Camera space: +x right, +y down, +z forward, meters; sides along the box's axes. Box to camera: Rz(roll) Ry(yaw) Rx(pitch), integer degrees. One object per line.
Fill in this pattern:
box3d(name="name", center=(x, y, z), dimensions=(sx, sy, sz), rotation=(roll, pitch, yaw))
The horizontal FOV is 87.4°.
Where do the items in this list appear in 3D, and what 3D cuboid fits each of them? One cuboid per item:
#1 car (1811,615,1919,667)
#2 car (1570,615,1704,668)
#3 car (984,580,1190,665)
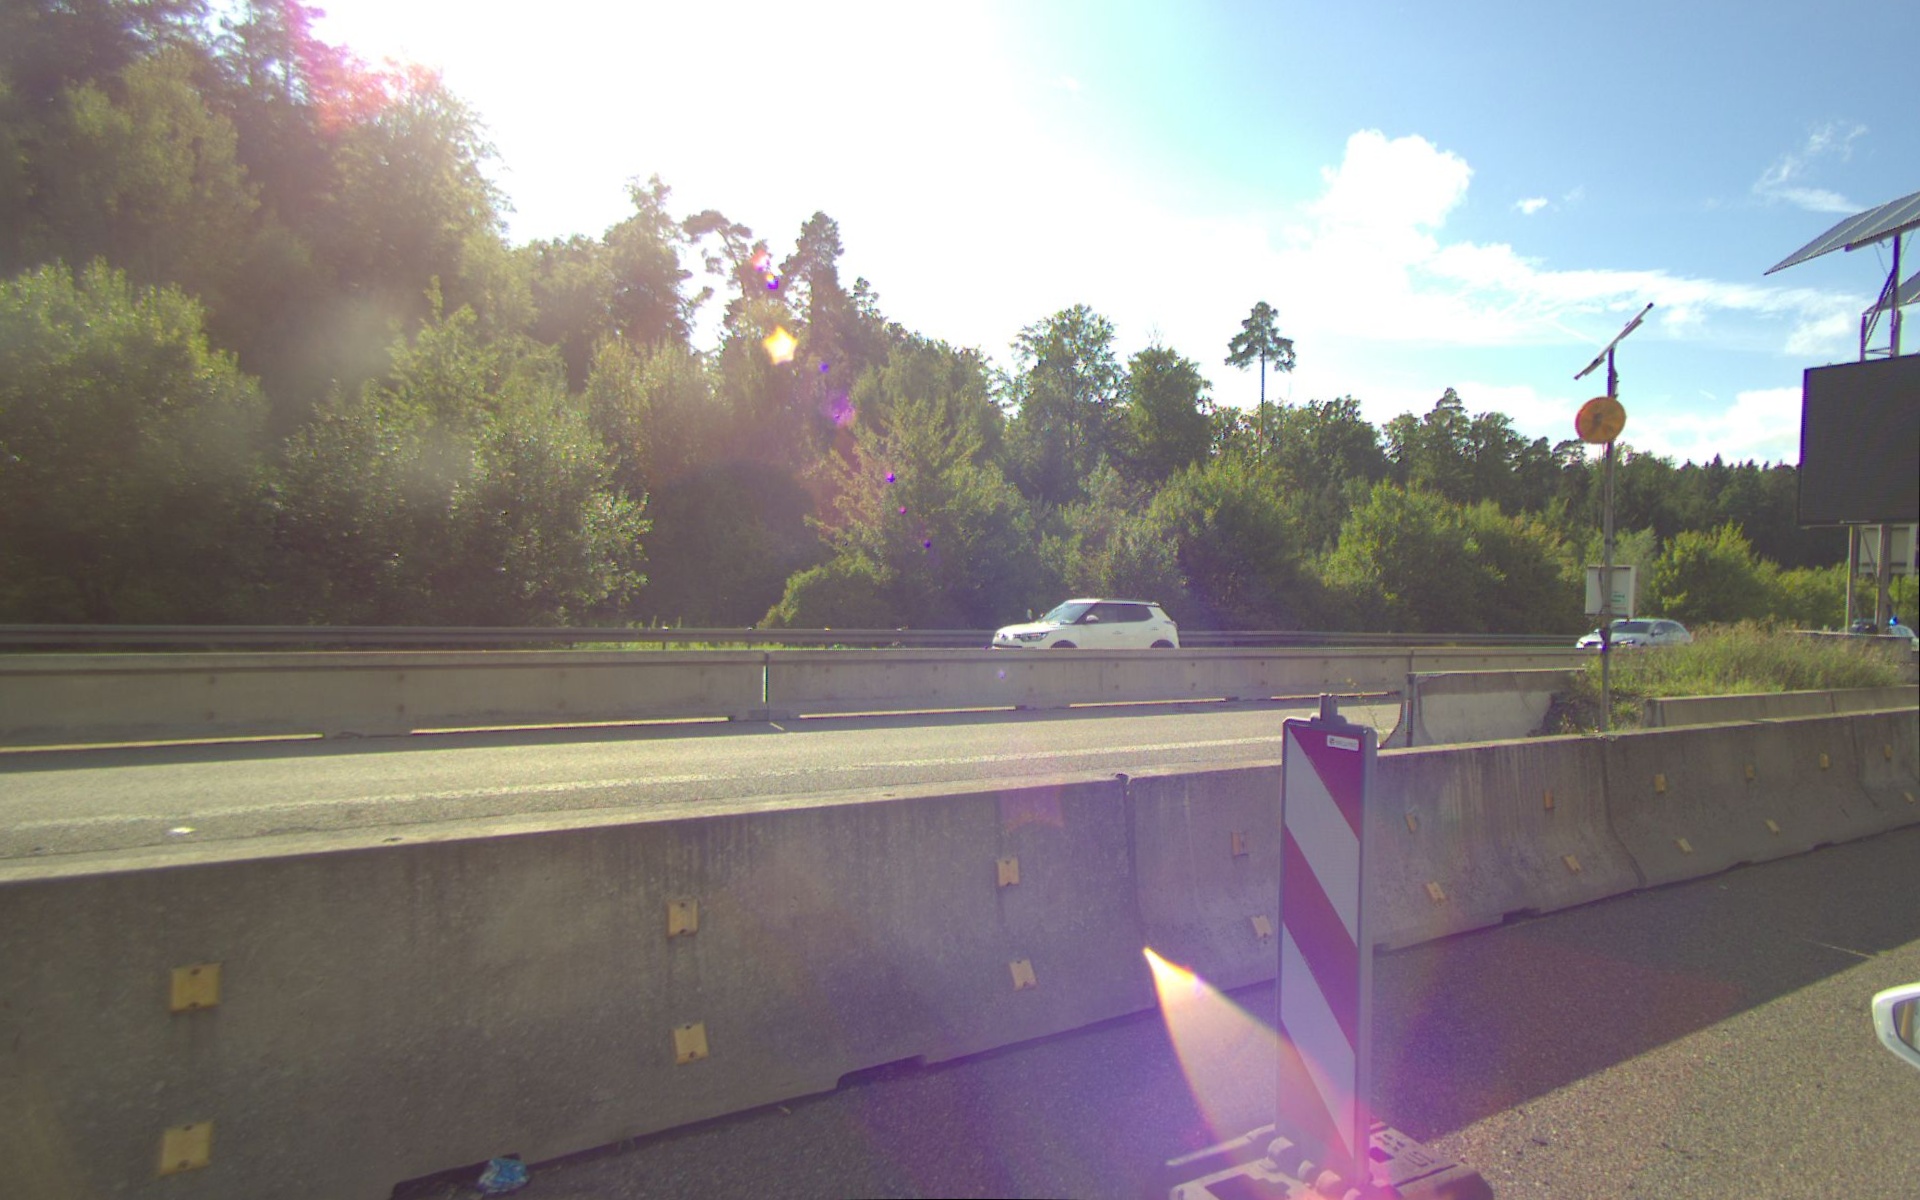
box3d(name="car", center=(31.267, 1.394, 34.494), dimensions=(4.624, 1.624, 1.768), rotation=(2, 0, -32))
box3d(name="car", center=(22.412, 1.358, 33.209), dimensions=(4.619, 1.624, 1.770), rotation=(2, 0, -29))
box3d(name="car", center=(2.667, 0.478, 20.942), dimensions=(3.969, 1.624, 1.770), rotation=(2, 0, -29))
